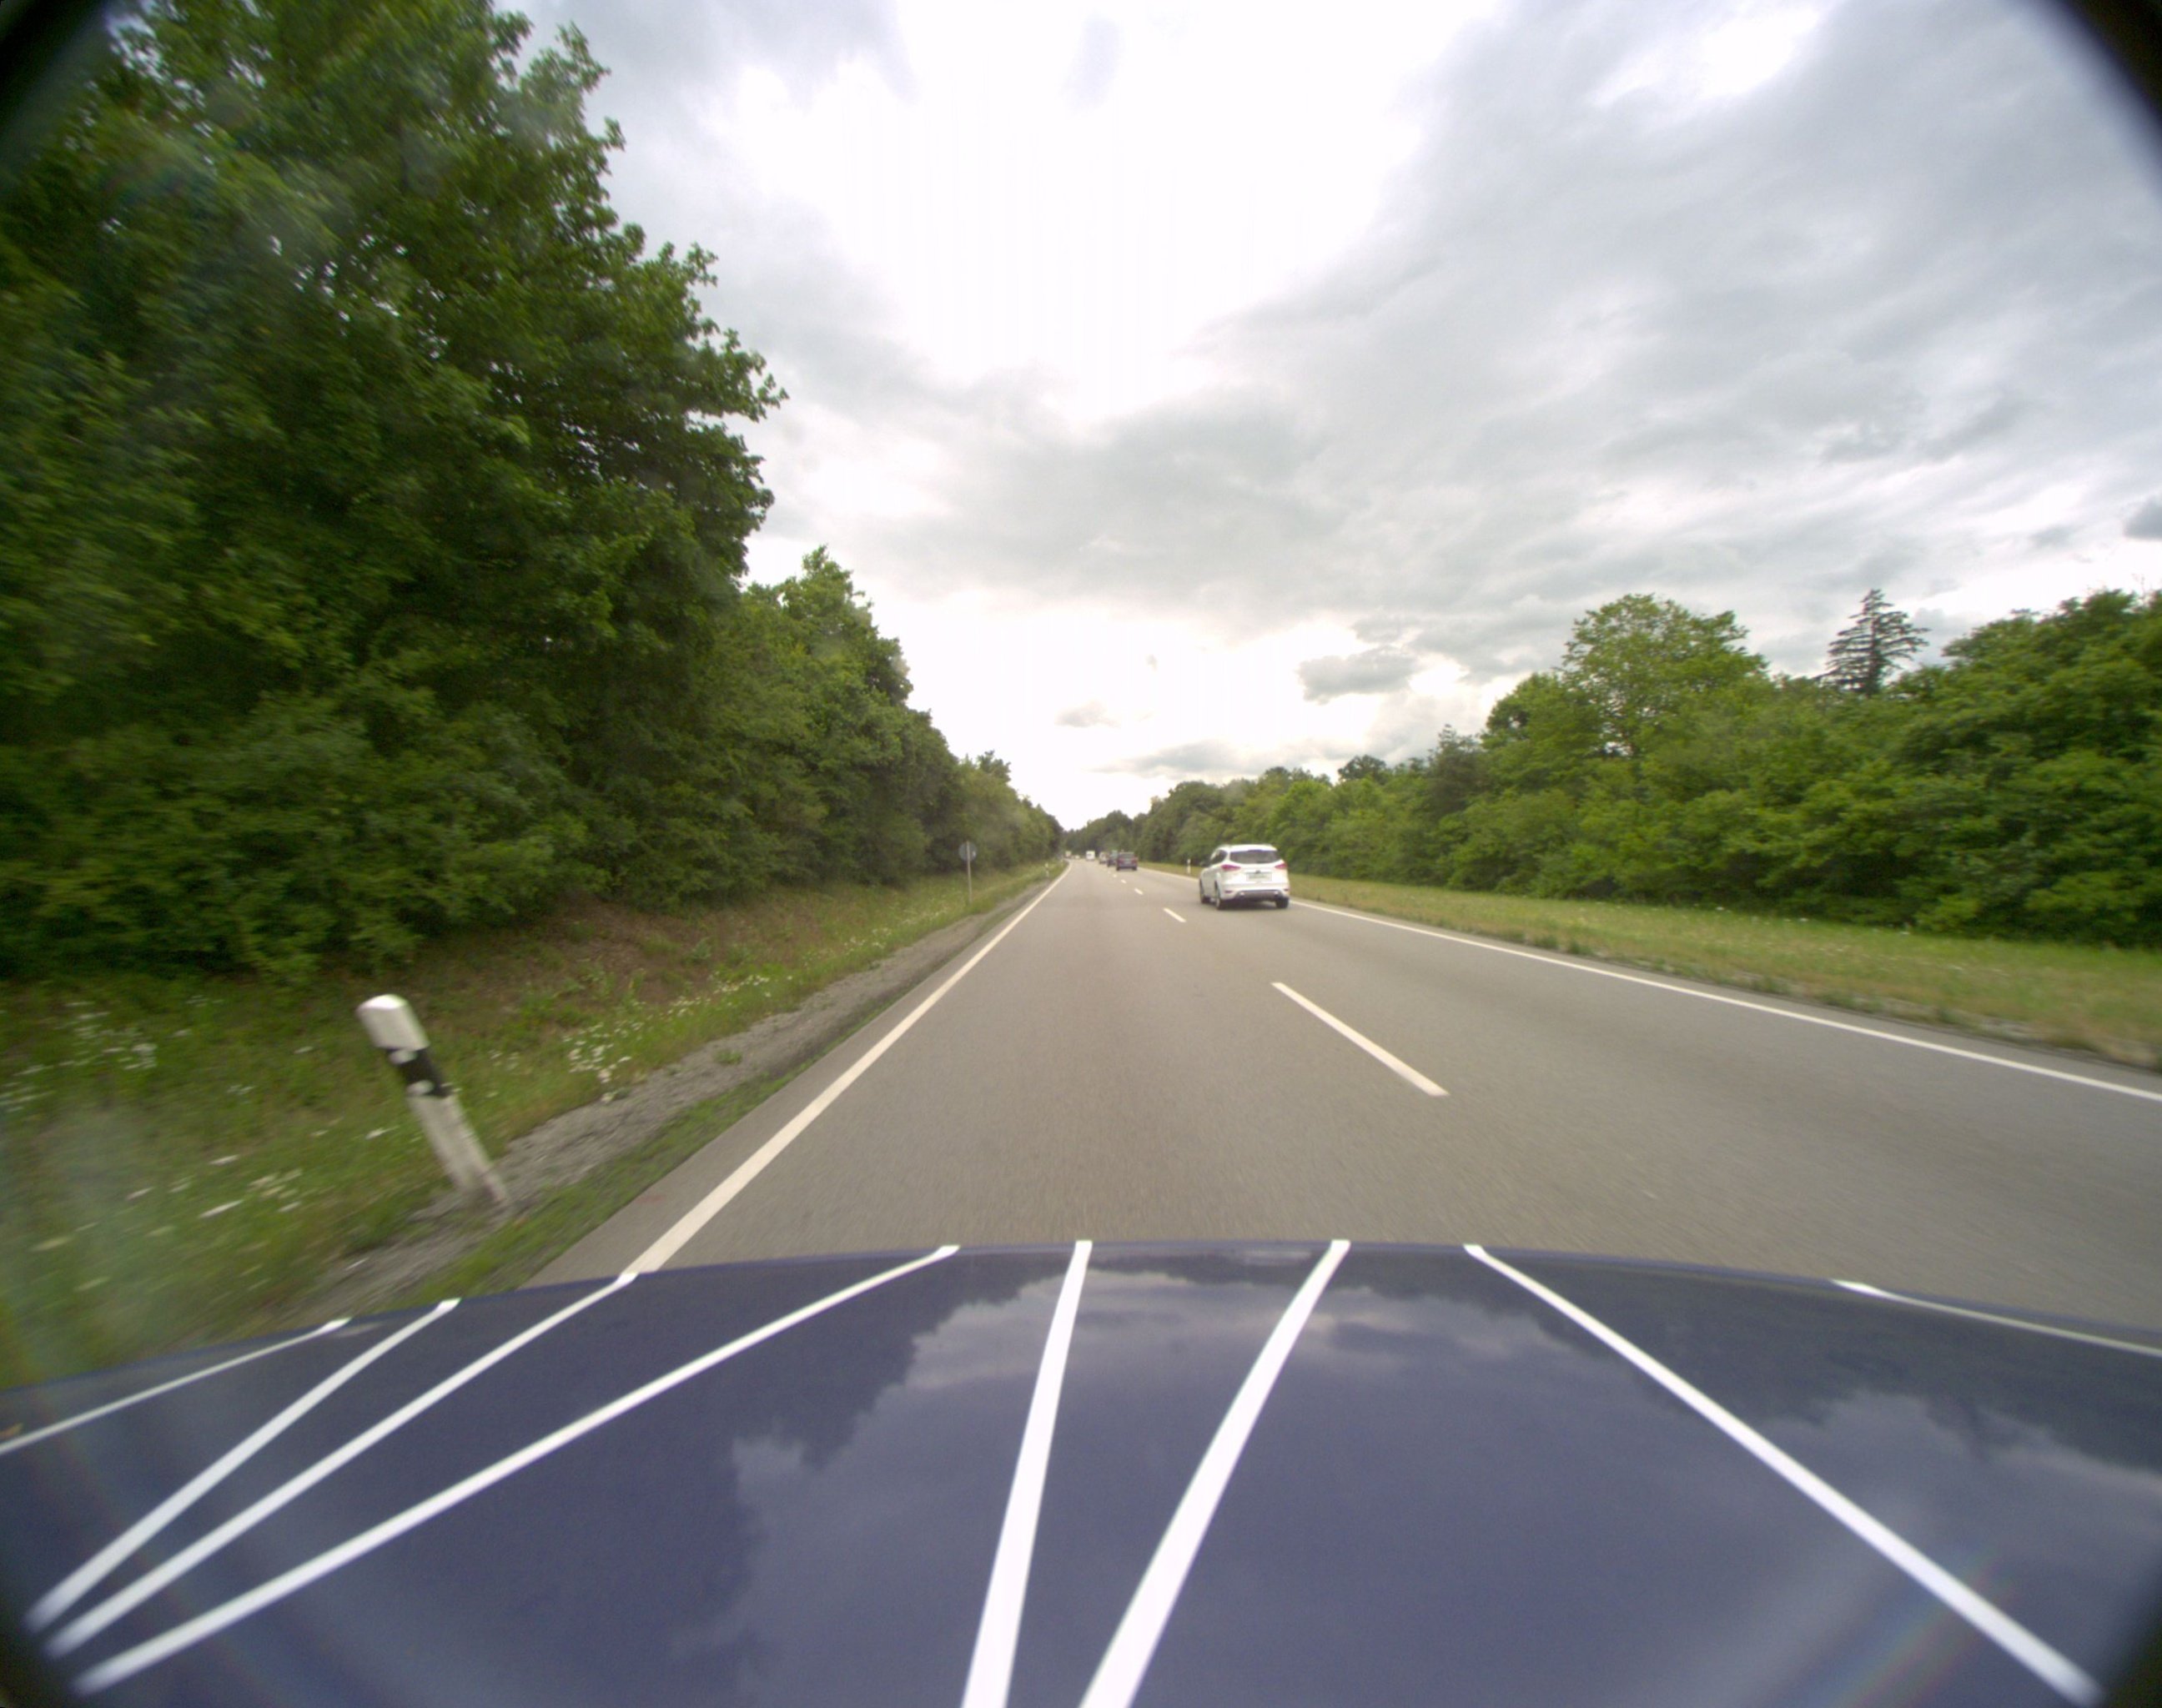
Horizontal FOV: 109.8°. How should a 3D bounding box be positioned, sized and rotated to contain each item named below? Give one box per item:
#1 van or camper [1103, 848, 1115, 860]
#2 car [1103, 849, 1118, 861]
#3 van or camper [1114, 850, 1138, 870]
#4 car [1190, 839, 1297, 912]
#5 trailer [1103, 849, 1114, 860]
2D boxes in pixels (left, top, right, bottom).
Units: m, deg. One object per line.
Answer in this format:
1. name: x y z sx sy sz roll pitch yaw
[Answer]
1. van or camper: 4.812 -0.026 132.374 1.926 1.881 5.361 -2 0 0
2. car: 3.722 0.097 96.312 1.692 1.471 4.455 -2 0 0
3. van or camper: 4.205 0.495 71.936 1.998 1.772 4.421 -2 0 0
4. car: 4.379 0.522 21.240 1.918 1.770 4.612 -2 0 0
5. trailer: 4.553 0.073 127.126 1.626 1.881 3.783 -2 0 0
